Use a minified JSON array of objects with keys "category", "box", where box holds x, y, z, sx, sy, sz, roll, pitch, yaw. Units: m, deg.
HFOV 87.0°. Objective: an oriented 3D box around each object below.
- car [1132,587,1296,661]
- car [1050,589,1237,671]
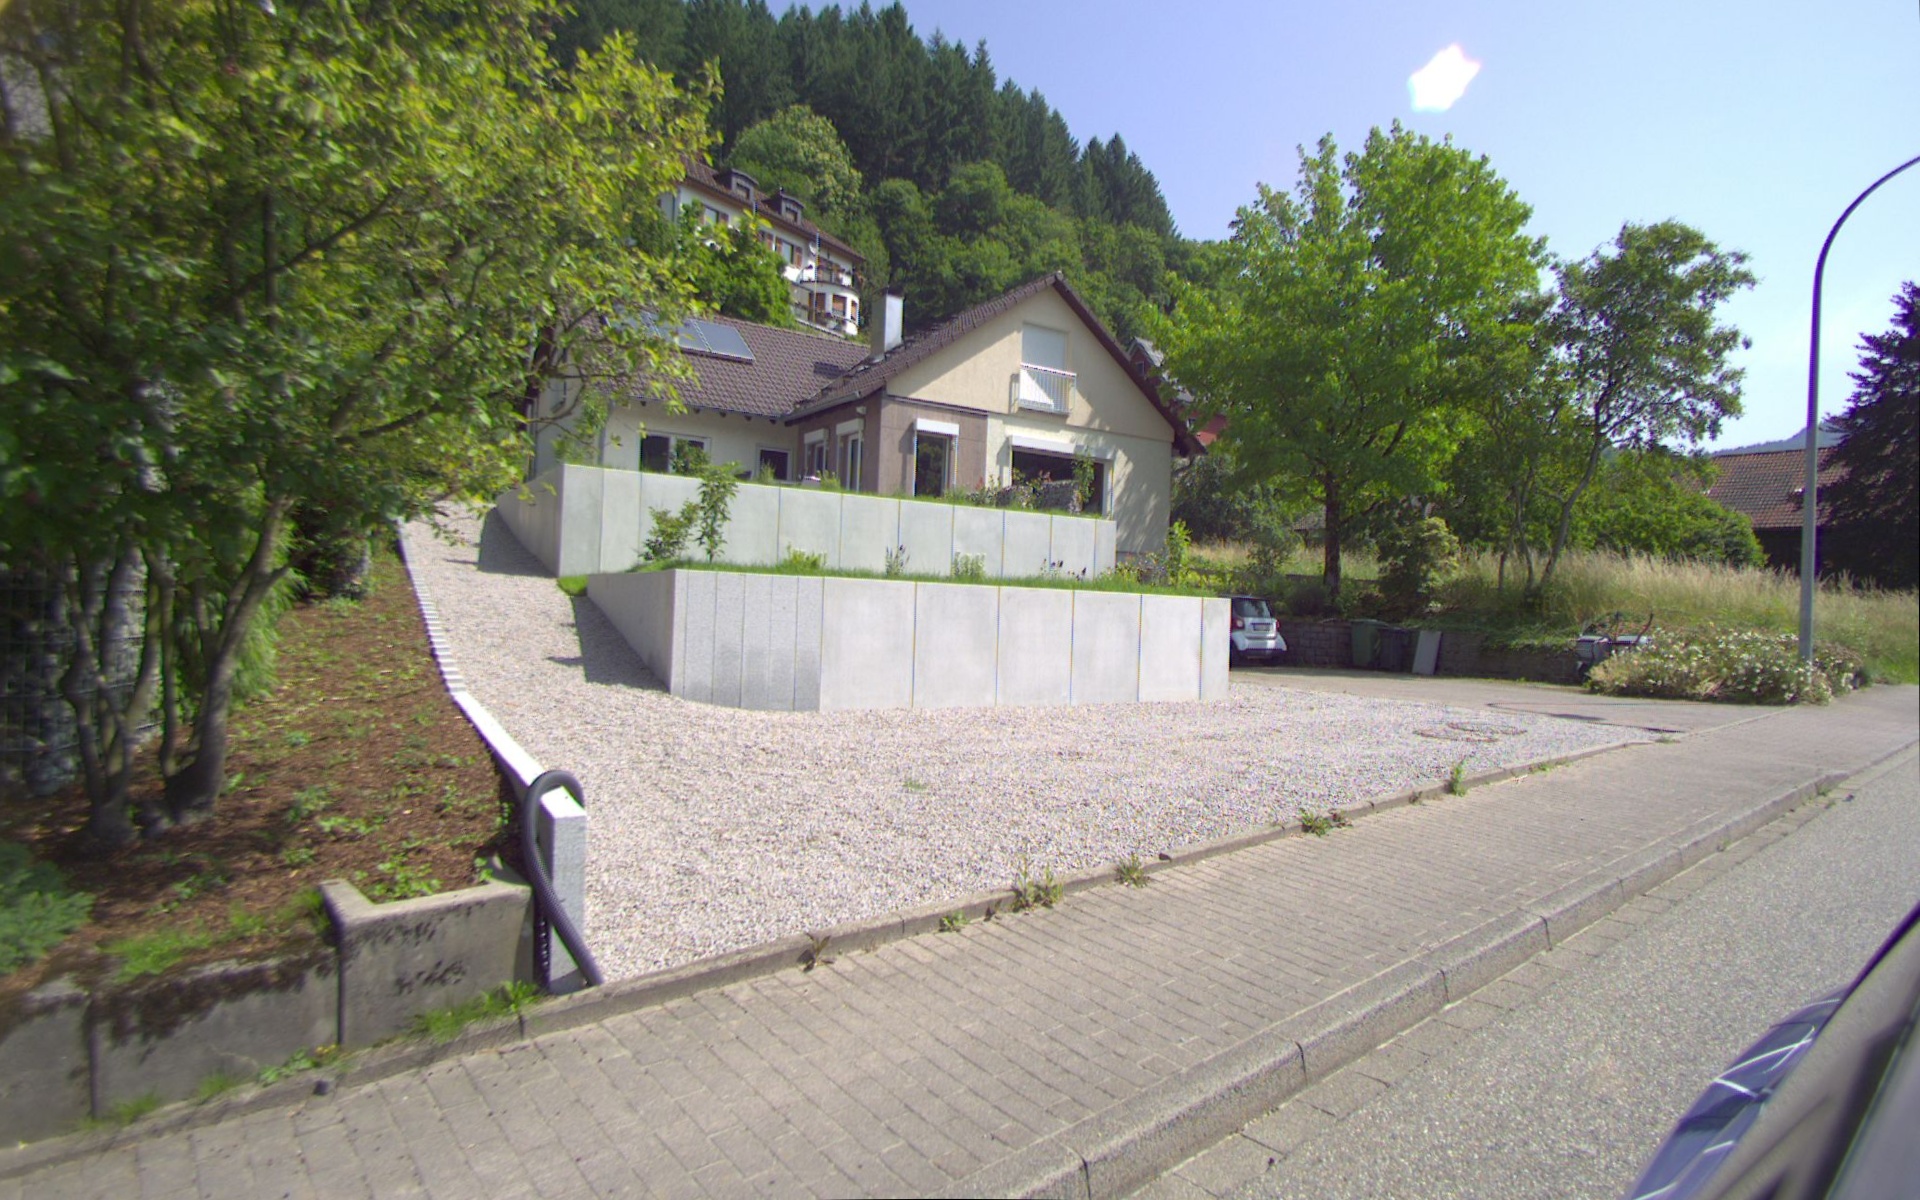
[{"category":"car","box":[5.599,0.480,22.565,1.720,1.516,3.231,1,0,-33]},{"category":"car","box":[3.604,0.531,20.467,1.688,1.489,3.750,0,1,-30]}]
